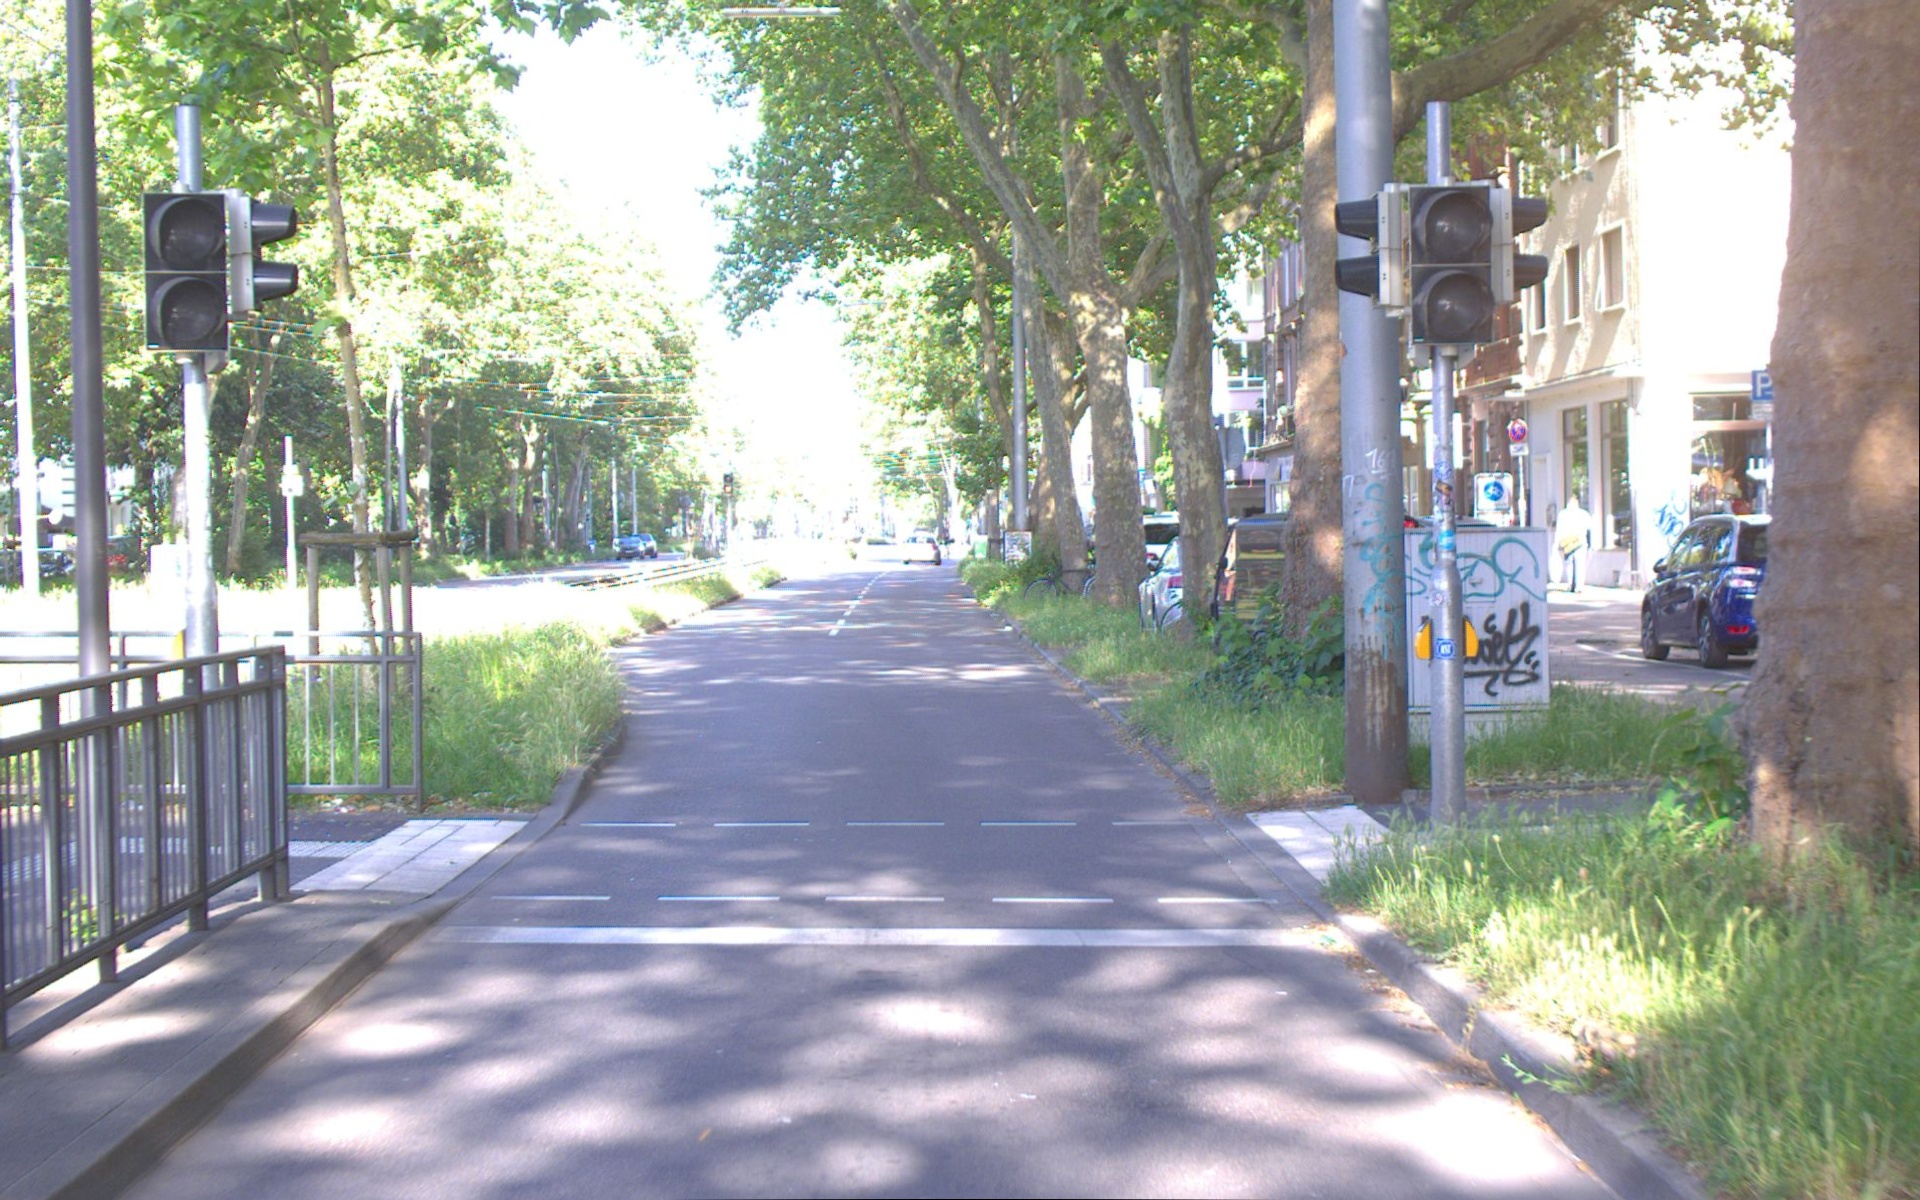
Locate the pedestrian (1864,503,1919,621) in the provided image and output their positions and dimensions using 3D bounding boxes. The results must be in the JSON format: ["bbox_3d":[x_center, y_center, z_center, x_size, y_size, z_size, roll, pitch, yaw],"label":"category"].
[{"bbox_3d":[13.672,-0.560,50.361,0.667,1.722,0.717,0,1,27],"label":"pedestrian"}]

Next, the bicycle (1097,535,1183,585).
[{"bbox_3d":[4.644,-1.035,88.798,2.164,1.290,0.983,0,1,0],"label":"bicycle"}]

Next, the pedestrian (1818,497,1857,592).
[{"bbox_3d":[15.429,-0.977,60.467,0.591,1.644,0.724,-1,1,10],"label":"pedestrian"}]

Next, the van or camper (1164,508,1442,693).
[{"bbox_3d":[3.072,-0.027,31.225,1.500,1.582,2.841,-1,1,-18],"label":"van or camper"}]

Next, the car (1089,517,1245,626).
[{"bbox_3d":[3.247,-0.484,54.820,1.902,1.630,4.825,-1,1,-4],"label":"car"}]

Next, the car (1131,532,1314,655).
[{"bbox_3d":[3.127,-0.118,41.775,1.753,1.393,5.026,0,1,-1],"label":"car"}]

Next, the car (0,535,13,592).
[{"bbox_3d":[-28.233,-0.977,96.248,1.994,1.610,4.420,-1,1,3],"label":"car"}]

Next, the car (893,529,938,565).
[{"bbox_3d":[-2.055,-2.444,158.298,2.021,1.656,4.000,0,1,-1],"label":"car"}]

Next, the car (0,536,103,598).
[{"bbox_3d":[-28.294,-1.051,107.243,2.108,1.802,4.739,-1,1,-3],"label":"car"}]

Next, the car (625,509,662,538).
[{"bbox_3d":[-21.456,-5.165,233.259,1.993,1.864,4.873,-2,1,0],"label":"car"}]

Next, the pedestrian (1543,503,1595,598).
[{"bbox_3d":[10.986,-0.897,62.030,0.795,1.698,0.724,-1,1,0],"label":"pedestrian"}]

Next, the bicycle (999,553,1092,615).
[{"bbox_3d":[1.496,-0.280,60.365,1.594,1.055,0.404,-1,1,6],"label":"bicycle"}]

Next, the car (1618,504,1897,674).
[{"bbox_3d":[8.750,-0.164,38.168,1.819,1.736,5.168,-1,1,-1],"label":"car"}]

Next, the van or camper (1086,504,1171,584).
[{"bbox_3d":[4.622,-1.556,94.763,1.833,2.090,4.775,2,1,-2],"label":"van or camper"}]

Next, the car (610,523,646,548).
[{"bbox_3d":[-21.375,-4.155,221.731,1.795,1.503,4.339,-3,1,0],"label":"car"}]

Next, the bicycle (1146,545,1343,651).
[{"bbox_3d":[3.101,-0.025,37.558,2.070,1.120,0.677,-1,1,-2],"label":"bicycle"}]

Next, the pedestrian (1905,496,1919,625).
[{"bbox_3d":[12.642,-0.516,44.410,0.679,1.645,0.905,-1,1,6],"label":"pedestrian"}]
